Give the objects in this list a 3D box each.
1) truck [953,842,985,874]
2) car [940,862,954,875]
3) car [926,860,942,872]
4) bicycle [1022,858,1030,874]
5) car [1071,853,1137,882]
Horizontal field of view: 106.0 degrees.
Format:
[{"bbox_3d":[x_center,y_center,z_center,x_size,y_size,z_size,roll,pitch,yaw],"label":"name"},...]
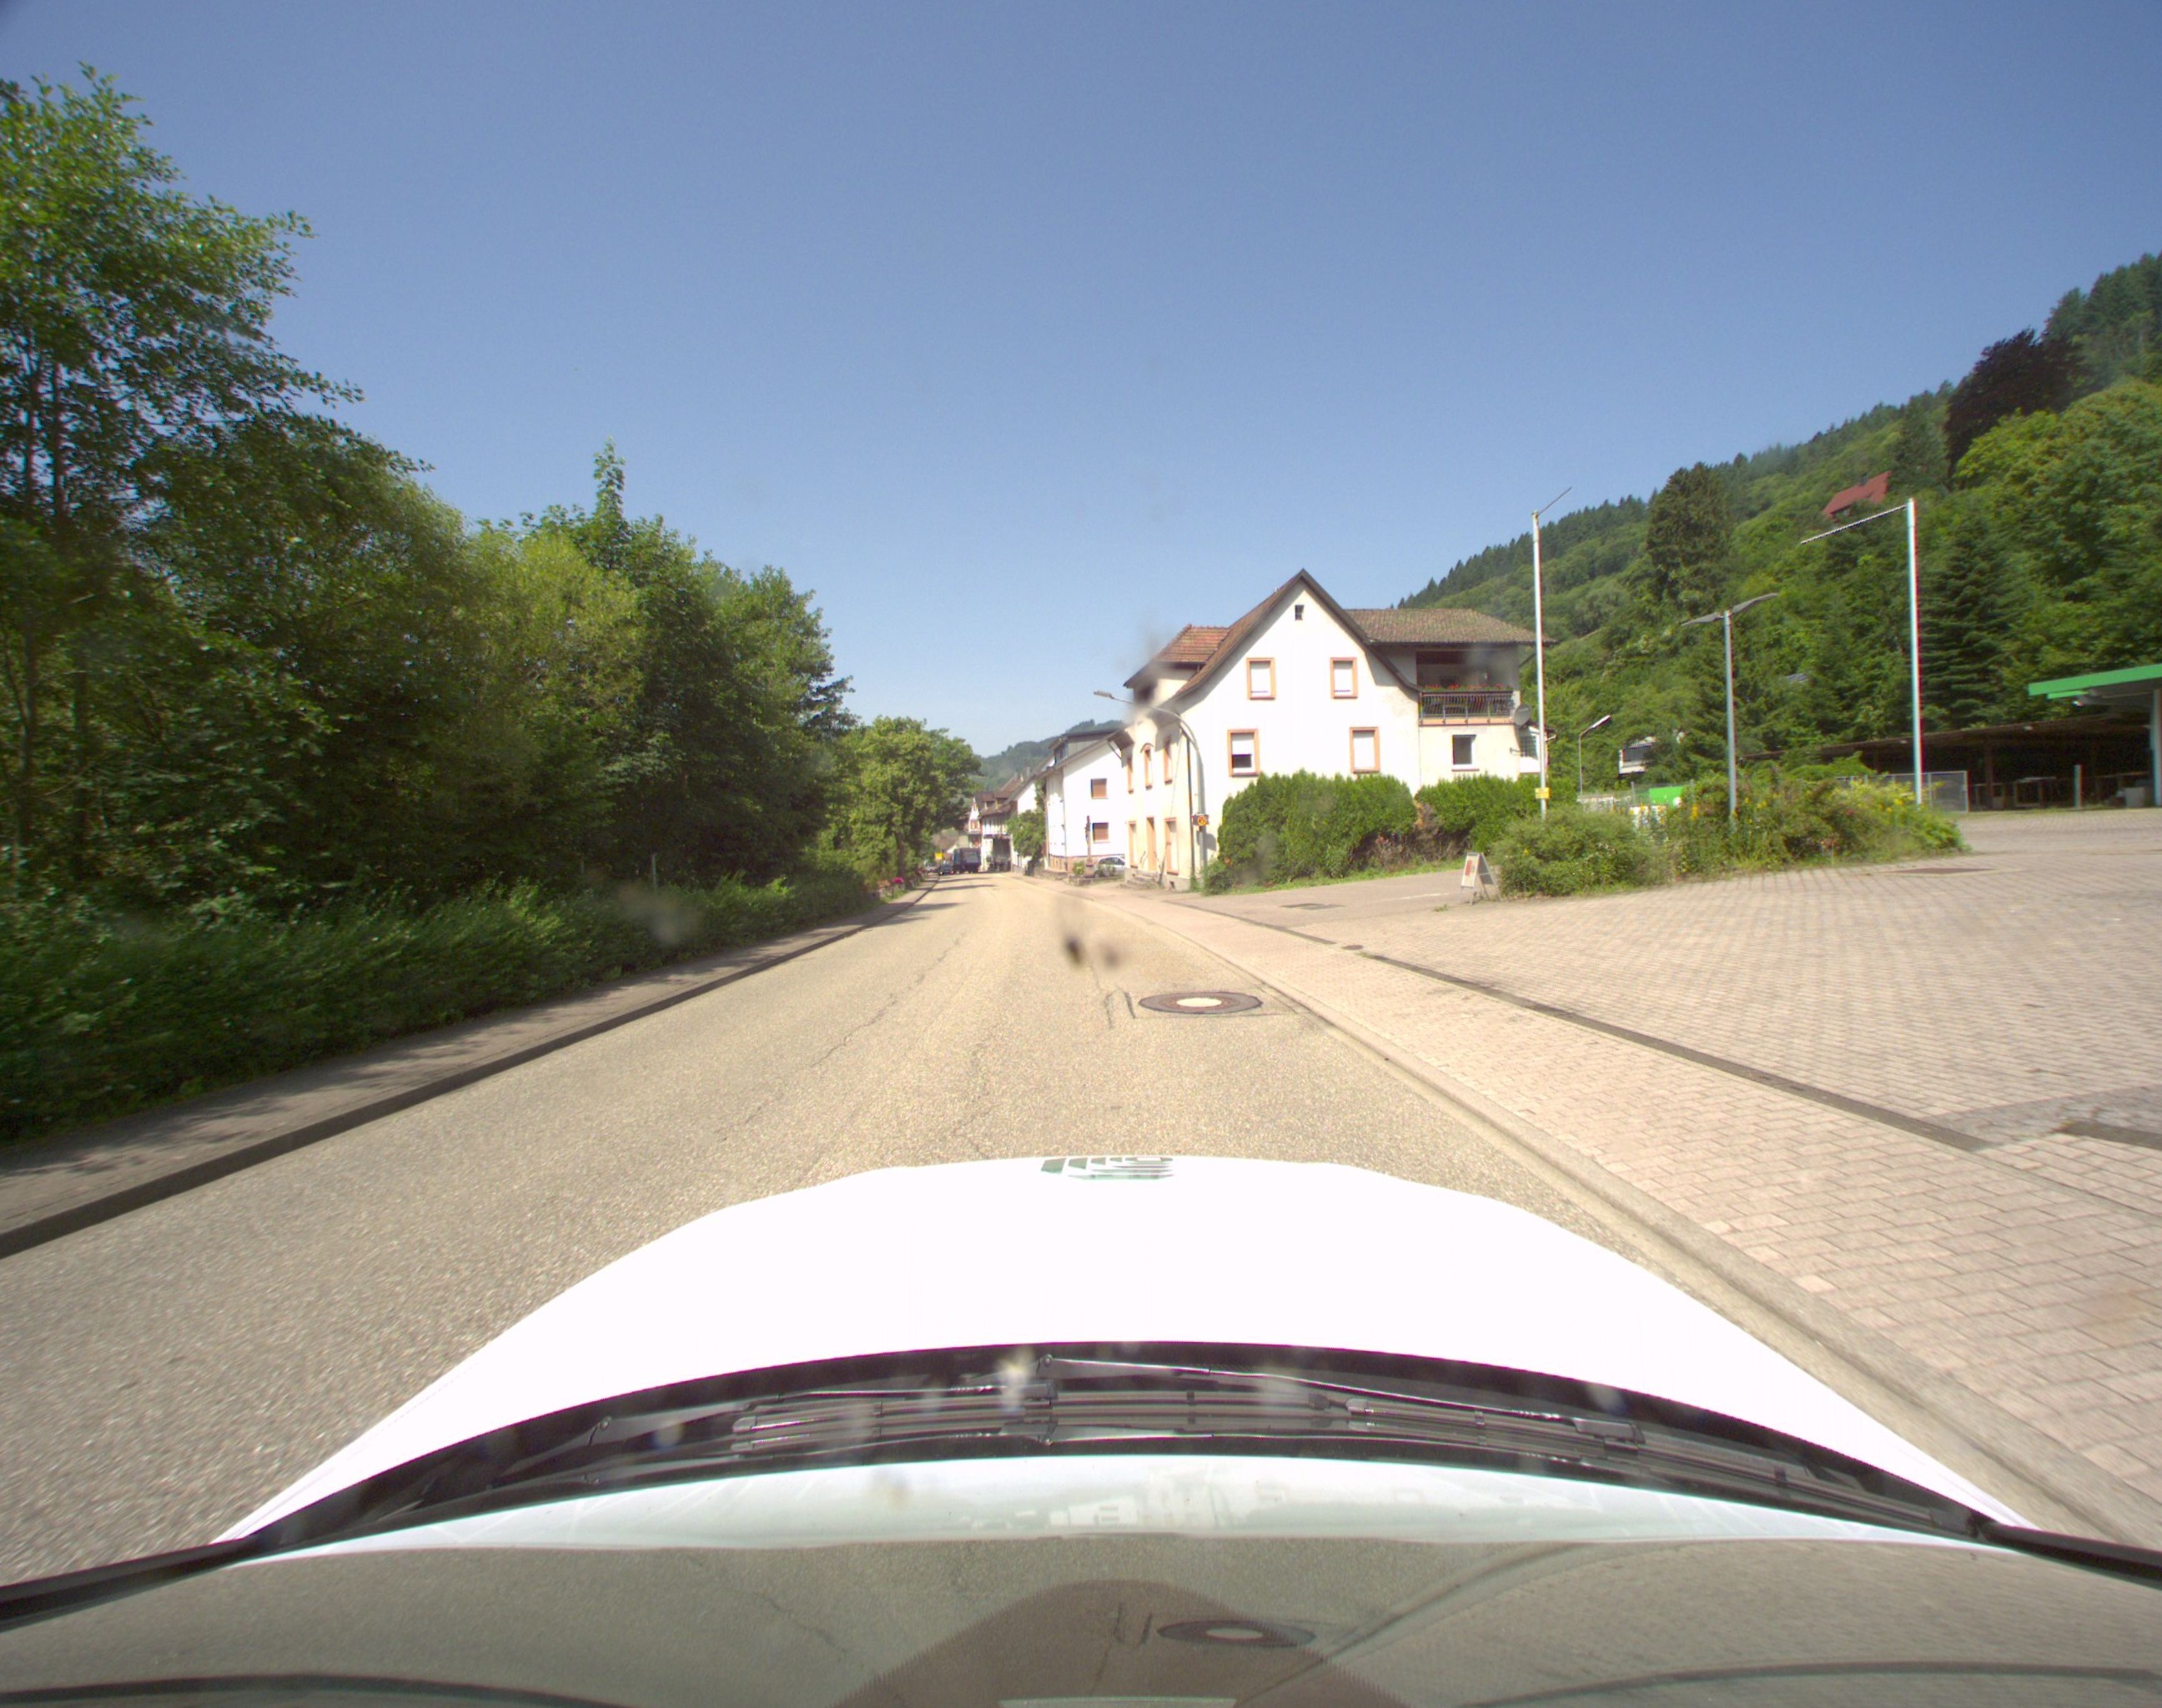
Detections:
[{"bbox_3d":[-15.346,0.634,110.939,3.367,3.781,8.403,-6,-1,-12],"label":"truck"},{"bbox_3d":[-17.126,1.857,104.355,1.666,1.418,4.074,-4,0,-8],"label":"car"},{"bbox_3d":[-24.416,2.046,135.236,1.780,1.734,3.973,-6,-1,-20],"label":"car"},{"bbox_3d":[-5.061,1.063,75.081,0.425,1.396,2.270,-6,1,-8],"label":"bicycle"},{"bbox_3d":[1.389,0.845,50.426,3.727,1.427,1.620,-5,0,36],"label":"car"}]
